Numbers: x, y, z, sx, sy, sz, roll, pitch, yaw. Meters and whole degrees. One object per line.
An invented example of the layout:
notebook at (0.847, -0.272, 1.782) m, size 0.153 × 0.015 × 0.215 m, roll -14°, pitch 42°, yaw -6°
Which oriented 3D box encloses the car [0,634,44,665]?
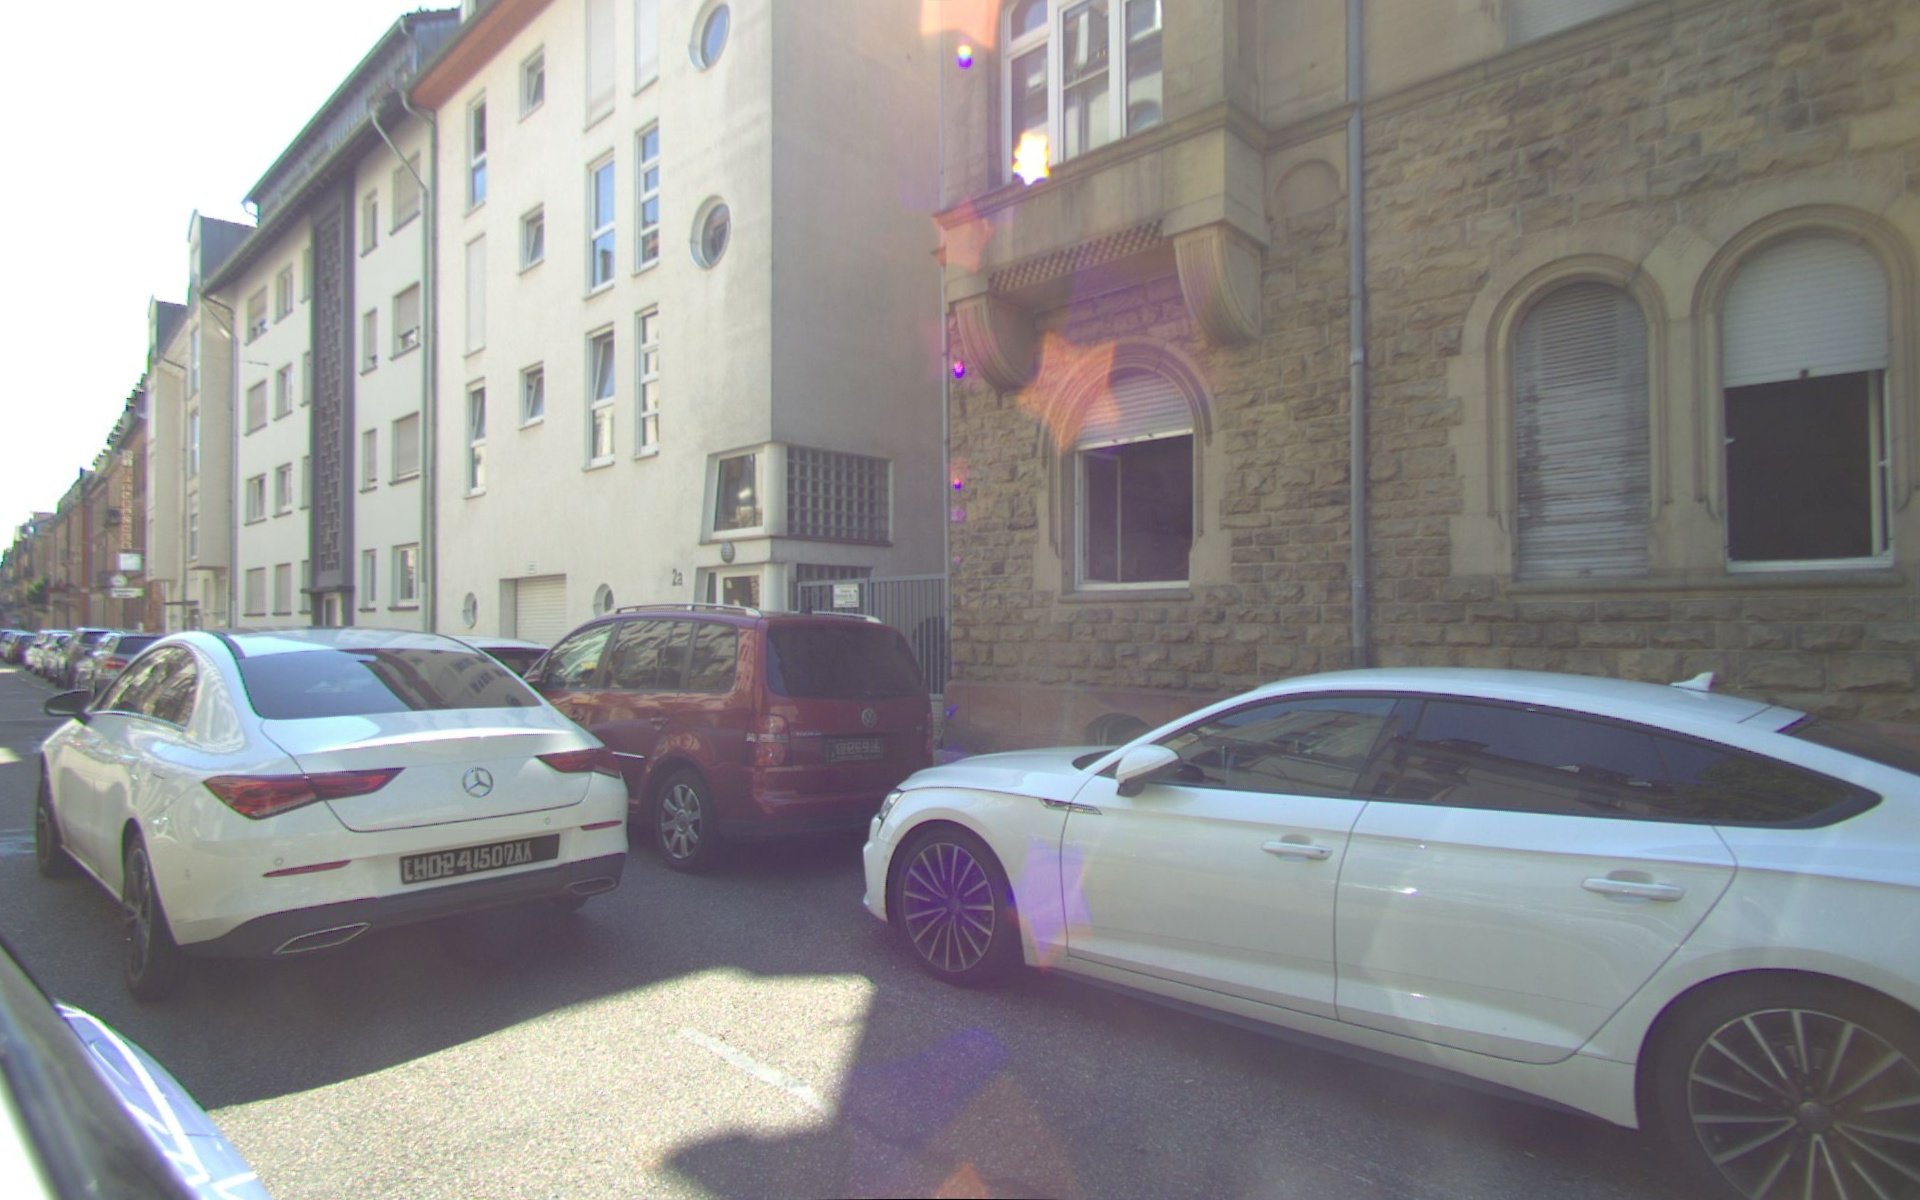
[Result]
car at (-50.625, 2.657, 54.466) m, size 3.524 × 1.555 × 1.431 m, roll -1°, pitch -6°, yaw 41°

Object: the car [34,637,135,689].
car at (-26.073, 1.836, 30.087) m, size 4.348 × 1.404 × 1.745 m, roll -1°, pitch -4°, yaw 43°

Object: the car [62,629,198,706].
car at (-18.426, 1.434, 22.391) m, size 4.671 × 1.530 × 1.638 m, roll -1°, pitch -4°, yaw 43°

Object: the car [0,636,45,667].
car at (-47.294, 2.562, 50.901) m, size 1.610 × 1.440 × 3.680 m, roll 7°, pitch -6°, yaw -44°

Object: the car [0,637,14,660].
car at (-61.931, 3.091, 65.036) m, size 3.527 × 1.410 × 1.430 m, roll -2°, pitch -6°, yaw 44°

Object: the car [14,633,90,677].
car at (-35.753, 2.139, 39.808) m, size 3.851 × 1.561 × 1.612 m, roll -1°, pitch -6°, yaw 40°

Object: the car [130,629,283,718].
car at (-14.195, 1.318, 19.001) m, size 3.893 × 1.503 × 1.550 m, roll -1°, pitch -4°, yaw 43°

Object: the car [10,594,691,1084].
car at (-3.412, 0.809, 5.237) m, size 4.362 × 1.472 × 1.821 m, roll -1°, pitch -4°, yaw 43°

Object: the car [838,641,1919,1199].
car at (1.713, 0.878, 3.764) m, size 4.512 × 1.363 × 1.684 m, roll -1°, pitch -4°, yaw 41°

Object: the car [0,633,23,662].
car at (-58.320, 2.868, 61.677) m, size 3.526 × 1.655 × 1.430 m, roll -2°, pitch -6°, yaw 43°

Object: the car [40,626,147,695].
car at (-22.493, 1.532, 26.229) m, size 3.977 × 1.657 × 1.586 m, roll -1°, pitch -4°, yaw 43°

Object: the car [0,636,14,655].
car at (-74.246, 3.444, 76.448) m, size 1.679 × 1.441 × 3.941 m, roll -2°, pitch -3°, yaw 45°

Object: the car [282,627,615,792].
car at (-5.760, 1.071, 11.169) m, size 4.277 × 1.471 × 1.758 m, roll -1°, pitch -4°, yaw 41°

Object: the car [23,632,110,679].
car at (-30.795, 1.894, 34.838) m, size 4.348 × 1.506 × 1.711 m, roll -1°, pitch -5°, yaw 43°

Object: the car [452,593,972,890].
car at (-1.996, 0.841, 7.445) m, size 4.051 × 1.595 × 1.655 m, roll -1°, pitch -4°, yaw 41°

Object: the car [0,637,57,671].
car at (-43.465, 2.497, 47.175) m, size 1.757 × 1.440 × 3.839 m, roll 7°, pitch -6°, yaw -44°
